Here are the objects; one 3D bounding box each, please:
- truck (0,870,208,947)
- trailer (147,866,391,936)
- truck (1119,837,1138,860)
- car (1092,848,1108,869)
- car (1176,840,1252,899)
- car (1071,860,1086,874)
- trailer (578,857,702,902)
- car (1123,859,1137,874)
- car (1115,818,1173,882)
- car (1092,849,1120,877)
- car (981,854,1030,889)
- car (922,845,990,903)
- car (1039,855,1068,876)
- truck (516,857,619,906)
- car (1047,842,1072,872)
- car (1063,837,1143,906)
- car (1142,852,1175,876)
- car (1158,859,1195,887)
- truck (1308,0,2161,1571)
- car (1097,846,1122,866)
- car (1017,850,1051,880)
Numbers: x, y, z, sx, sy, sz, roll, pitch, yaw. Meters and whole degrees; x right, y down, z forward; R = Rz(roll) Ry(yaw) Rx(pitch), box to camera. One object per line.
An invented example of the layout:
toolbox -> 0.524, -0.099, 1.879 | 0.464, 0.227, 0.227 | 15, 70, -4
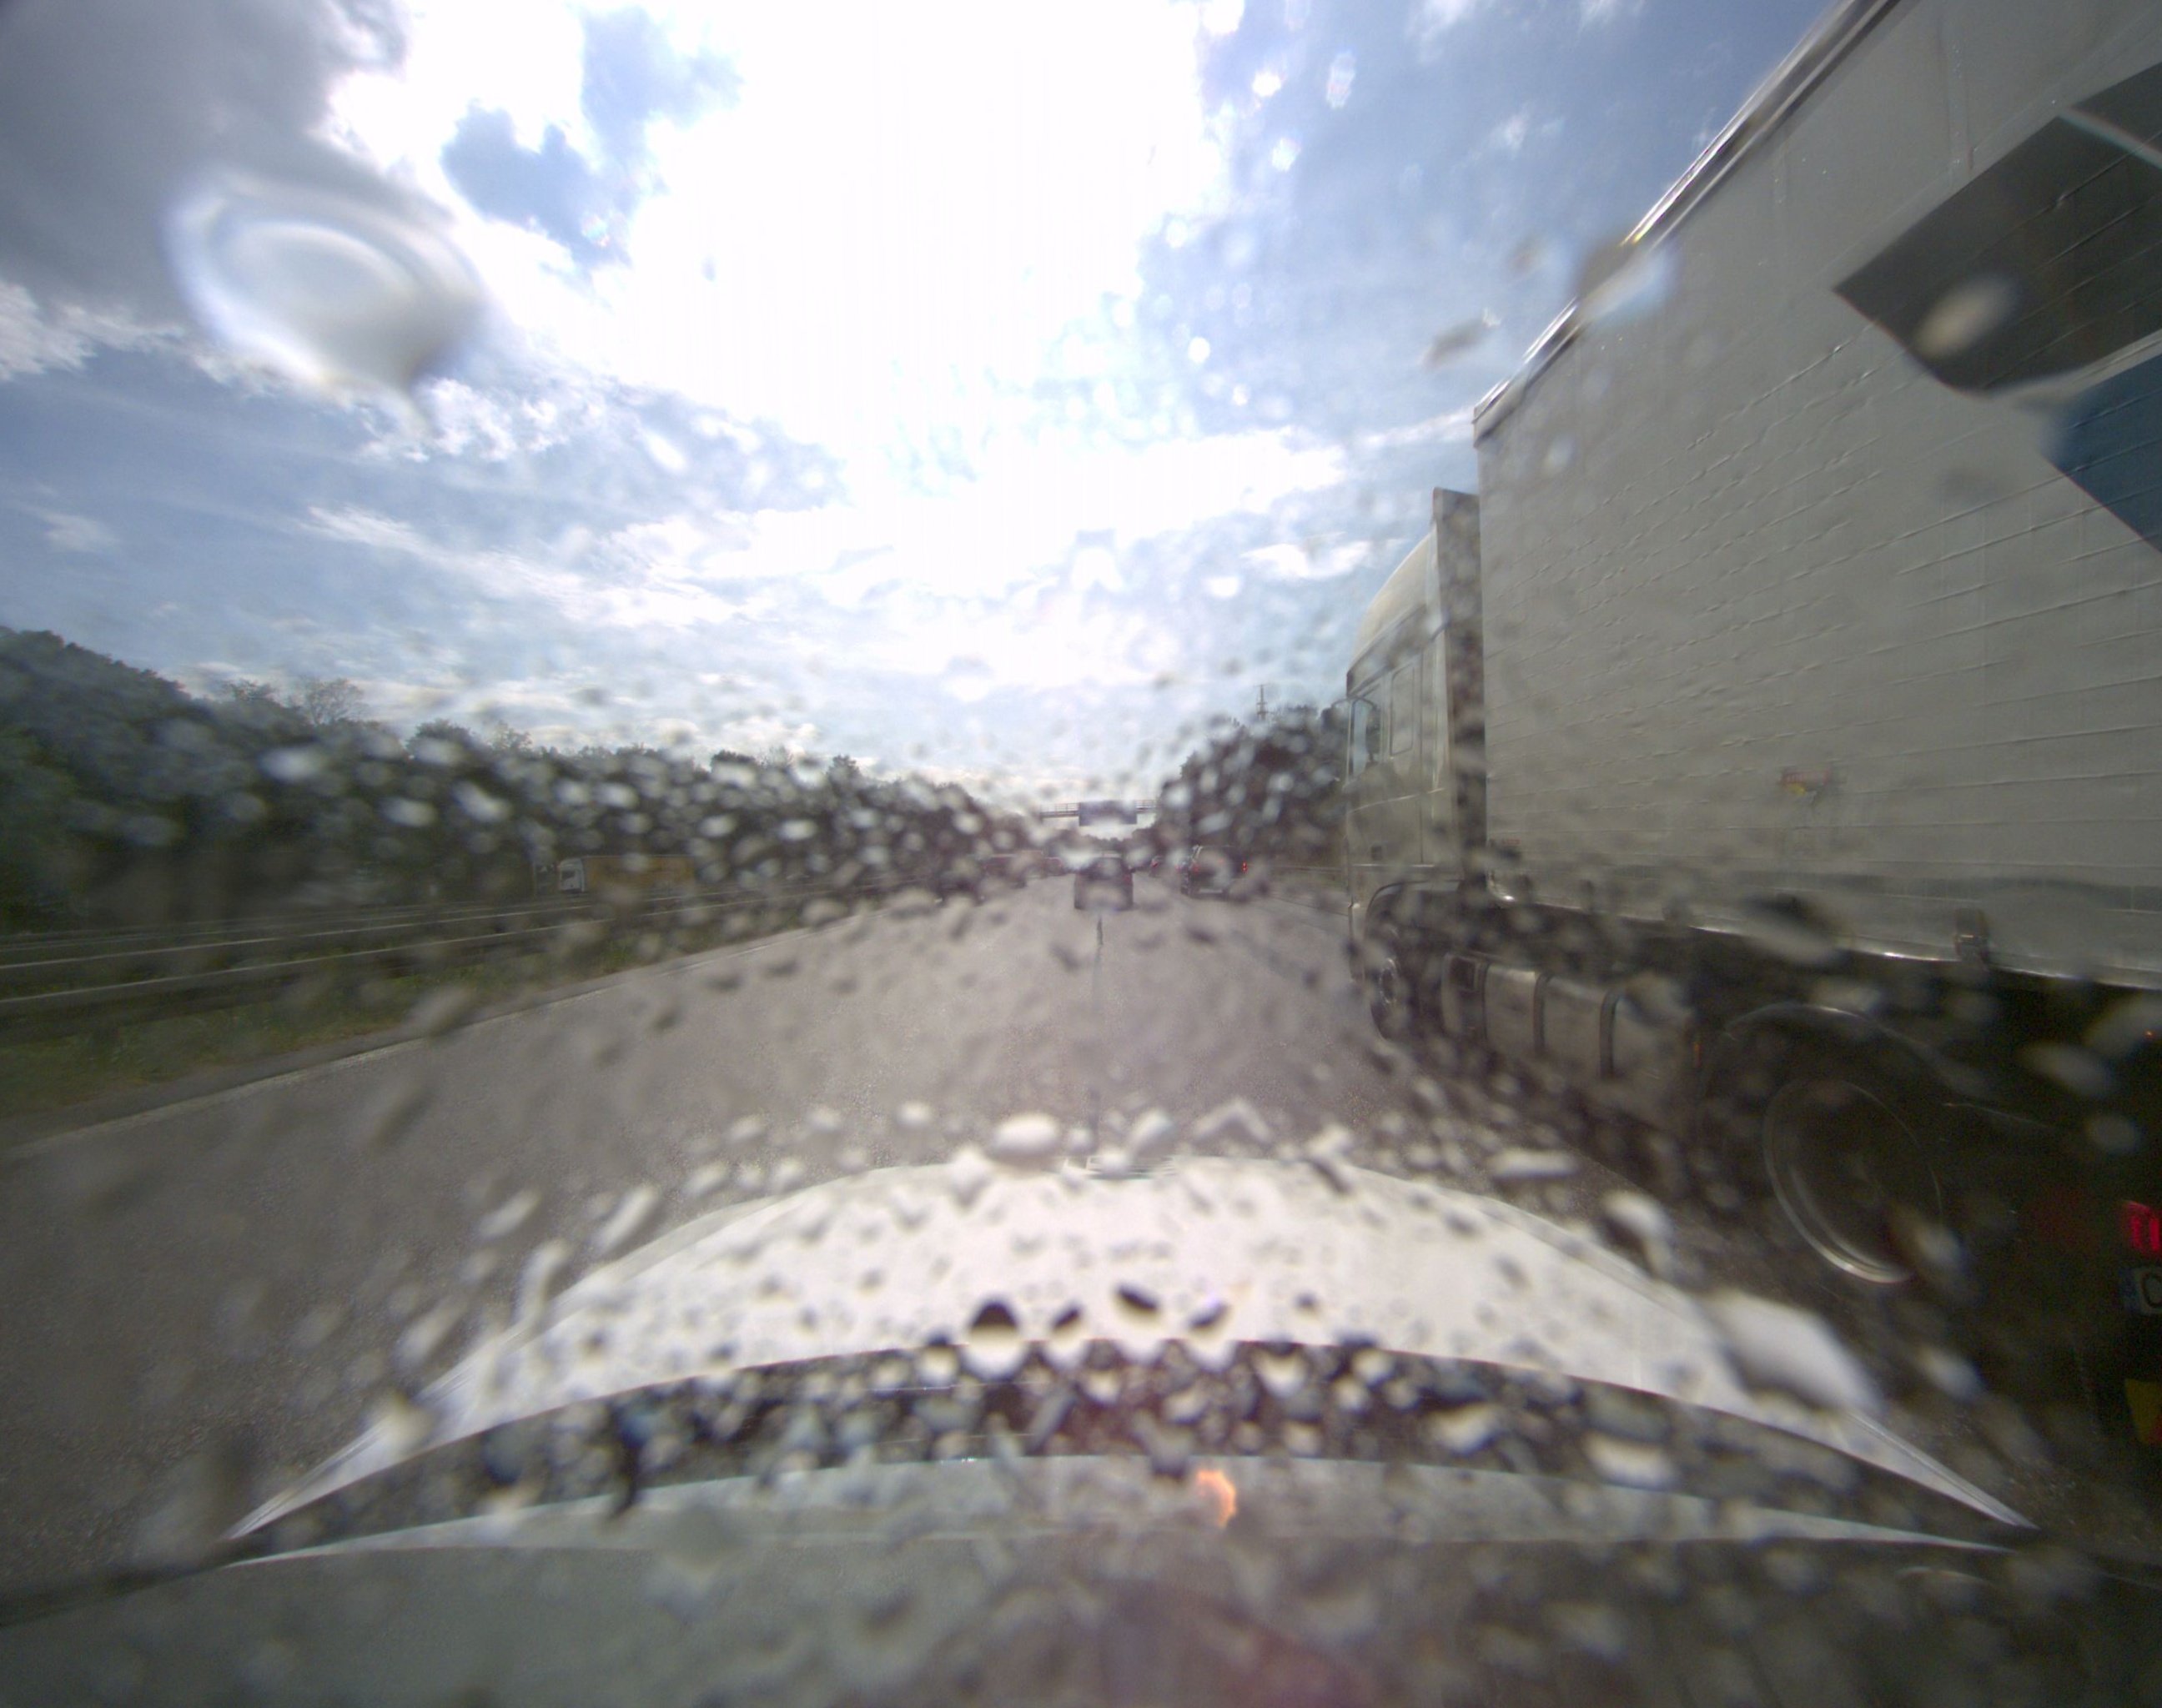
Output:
truck -> -51.423, 2.710, 42.679 | 3.768, 3.660, 6.718 | -1, -1, 7
trailer -> -50.252, 2.740, 51.128 | 3.767, 3.649, 10.523 | -2, 0, 9
truck -> 7.579, -0.855, 130.723 | 2.765, 3.632, 5.919 | -1, -1, 2
car -> 2.570, 0.637, 108.514 | 1.986, 2.746, 5.262 | -1, -1, 2
car -> 4.738, 0.549, 29.877 | 1.935, 1.919, 5.652 | -1, -1, 1
car -> -0.358, 1.935, 121.160 | 1.986, 2.116, 4.891 | -1, -1, 2
trailer -> -43.470, 2.451, 80.947 | 3.760, 4.117, 11.772 | -1, -1, 15
car -> 7.079, 1.817, 118.346 | 1.986, 2.116, 4.891 | -1, -1, 2
car -> 6.198, -0.281, 83.850 | 4.390, 5.830, 16.811 | -1, -1, -1
car -> 1.611, 0.592, 53.722 | 1.687, 1.805, 3.975 | -1, -1, 0
car -> -3.810, 0.890, 41.805 | 1.901, 1.636, 4.619 | -2, -1, 2
car -> -4.117, 0.653, 27.396 | 1.687, 1.805, 3.975 | -1, -1, 0
car -> -2.177, 0.929, 65.327 | 1.986, 1.565, 4.758 | -1, -1, 2
truck -> -45.668, 2.386, 72.771 | 3.760, 4.117, 7.073 | -1, -1, 15
car -> -1.932, 0.318, 74.917 | 1.986, 2.615, 5.262 | -1, -1, 2
car -> 0.634, 0.530, 25.650 | 2.267, 1.954, 4.820 | -1, -1, 0
car -> 5.275, 0.690, 55.713 | 1.859, 1.516, 3.974 | -1, -1, -1
car -> 5.373, 1.048, 46.316 | 1.586, 1.516, 3.975 | -1, -1, 0
truck -> 3.815, -0.519, 4.719 | 3.273, 3.891, 6.396 | 0, 0, 0
car -> 2.259, 0.199, 65.760 | 1.859, 1.516, 3.974 | -1, -1, -1
car -> -3.290, 0.769, 57.670 | 1.971, 2.054, 4.758 | -1, -1, 2
